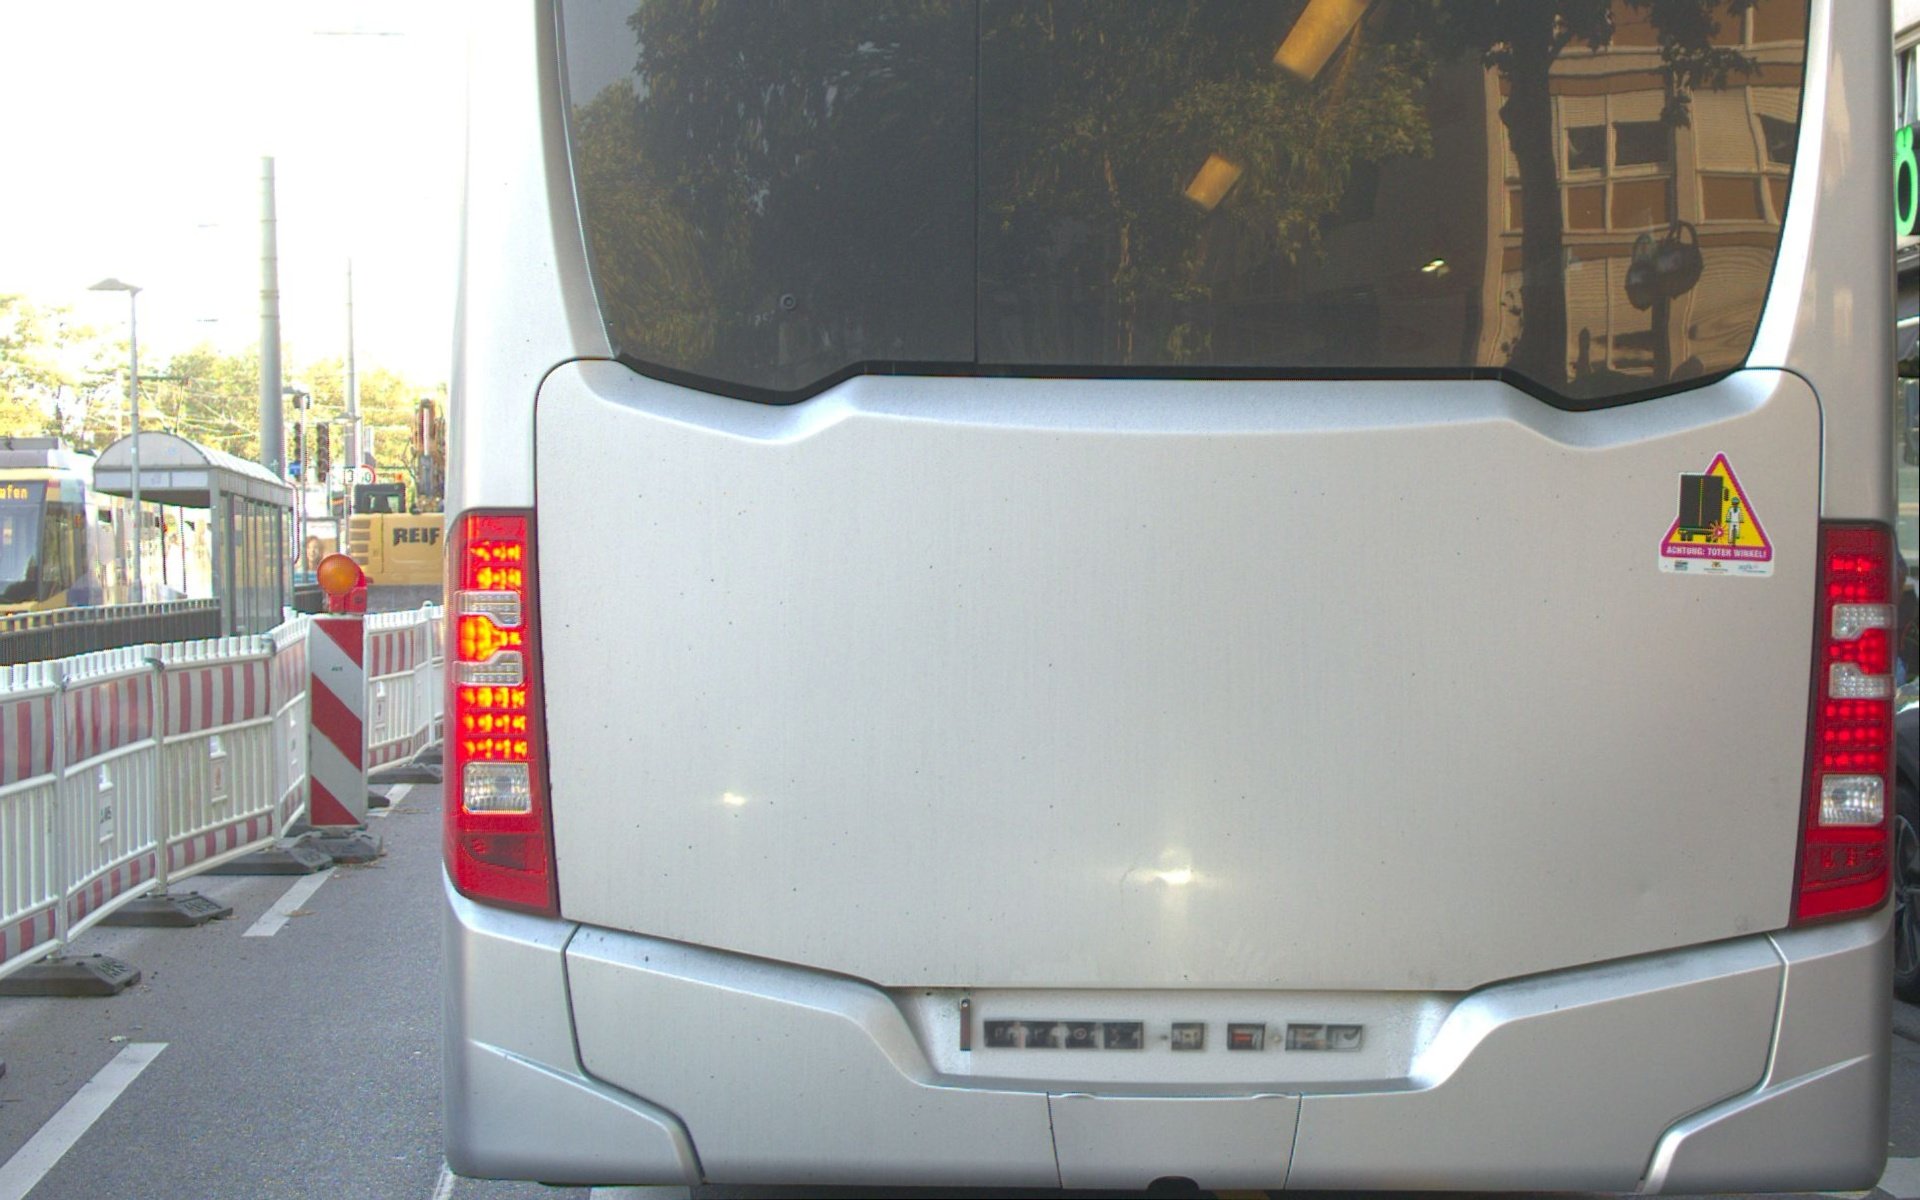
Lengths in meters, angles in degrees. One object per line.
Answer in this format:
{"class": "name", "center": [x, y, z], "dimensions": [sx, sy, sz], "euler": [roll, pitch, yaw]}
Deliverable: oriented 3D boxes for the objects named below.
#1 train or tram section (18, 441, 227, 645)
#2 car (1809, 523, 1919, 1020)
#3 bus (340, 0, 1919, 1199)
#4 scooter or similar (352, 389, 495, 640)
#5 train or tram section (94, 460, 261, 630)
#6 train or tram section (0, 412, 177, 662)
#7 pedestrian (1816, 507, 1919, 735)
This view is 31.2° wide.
{"class": "train or tram section", "center": [-15.916, -1.060, 66.076], "dimensions": [2.686, 3.546, 11.585], "euler": [1, 1, -8]}
{"class": "car", "center": [4.147, 0.535, 9.763], "dimensions": [1.993, 1.576, 4.369], "euler": [-3, 1, -5]}
{"class": "bus", "center": [0.291, -0.202, 9.507], "dimensions": [2.611, 3.115, 7.993], "euler": [1, 1, -1]}
{"class": "scooter or similar", "center": [-9.996, -1.568, 64.433], "dimensions": [2.468, 4.455, 5.974], "euler": [-1, 1, -8]}
{"class": "train or tram section", "center": [-17.515, -1.205, 77.568], "dimensions": [2.686, 3.521, 11.585], "euler": [1, 1, -8]}
{"class": "train or tram section", "center": [-14.522, -0.961, 54.465], "dimensions": [2.686, 3.521, 11.774], "euler": [1, 1, -6]}
{"class": "pedestrian", "center": [6.759, 0.153, 25.599], "dimensions": [0.664, 1.661, 0.600], "euler": [-2, 0, 16]}
